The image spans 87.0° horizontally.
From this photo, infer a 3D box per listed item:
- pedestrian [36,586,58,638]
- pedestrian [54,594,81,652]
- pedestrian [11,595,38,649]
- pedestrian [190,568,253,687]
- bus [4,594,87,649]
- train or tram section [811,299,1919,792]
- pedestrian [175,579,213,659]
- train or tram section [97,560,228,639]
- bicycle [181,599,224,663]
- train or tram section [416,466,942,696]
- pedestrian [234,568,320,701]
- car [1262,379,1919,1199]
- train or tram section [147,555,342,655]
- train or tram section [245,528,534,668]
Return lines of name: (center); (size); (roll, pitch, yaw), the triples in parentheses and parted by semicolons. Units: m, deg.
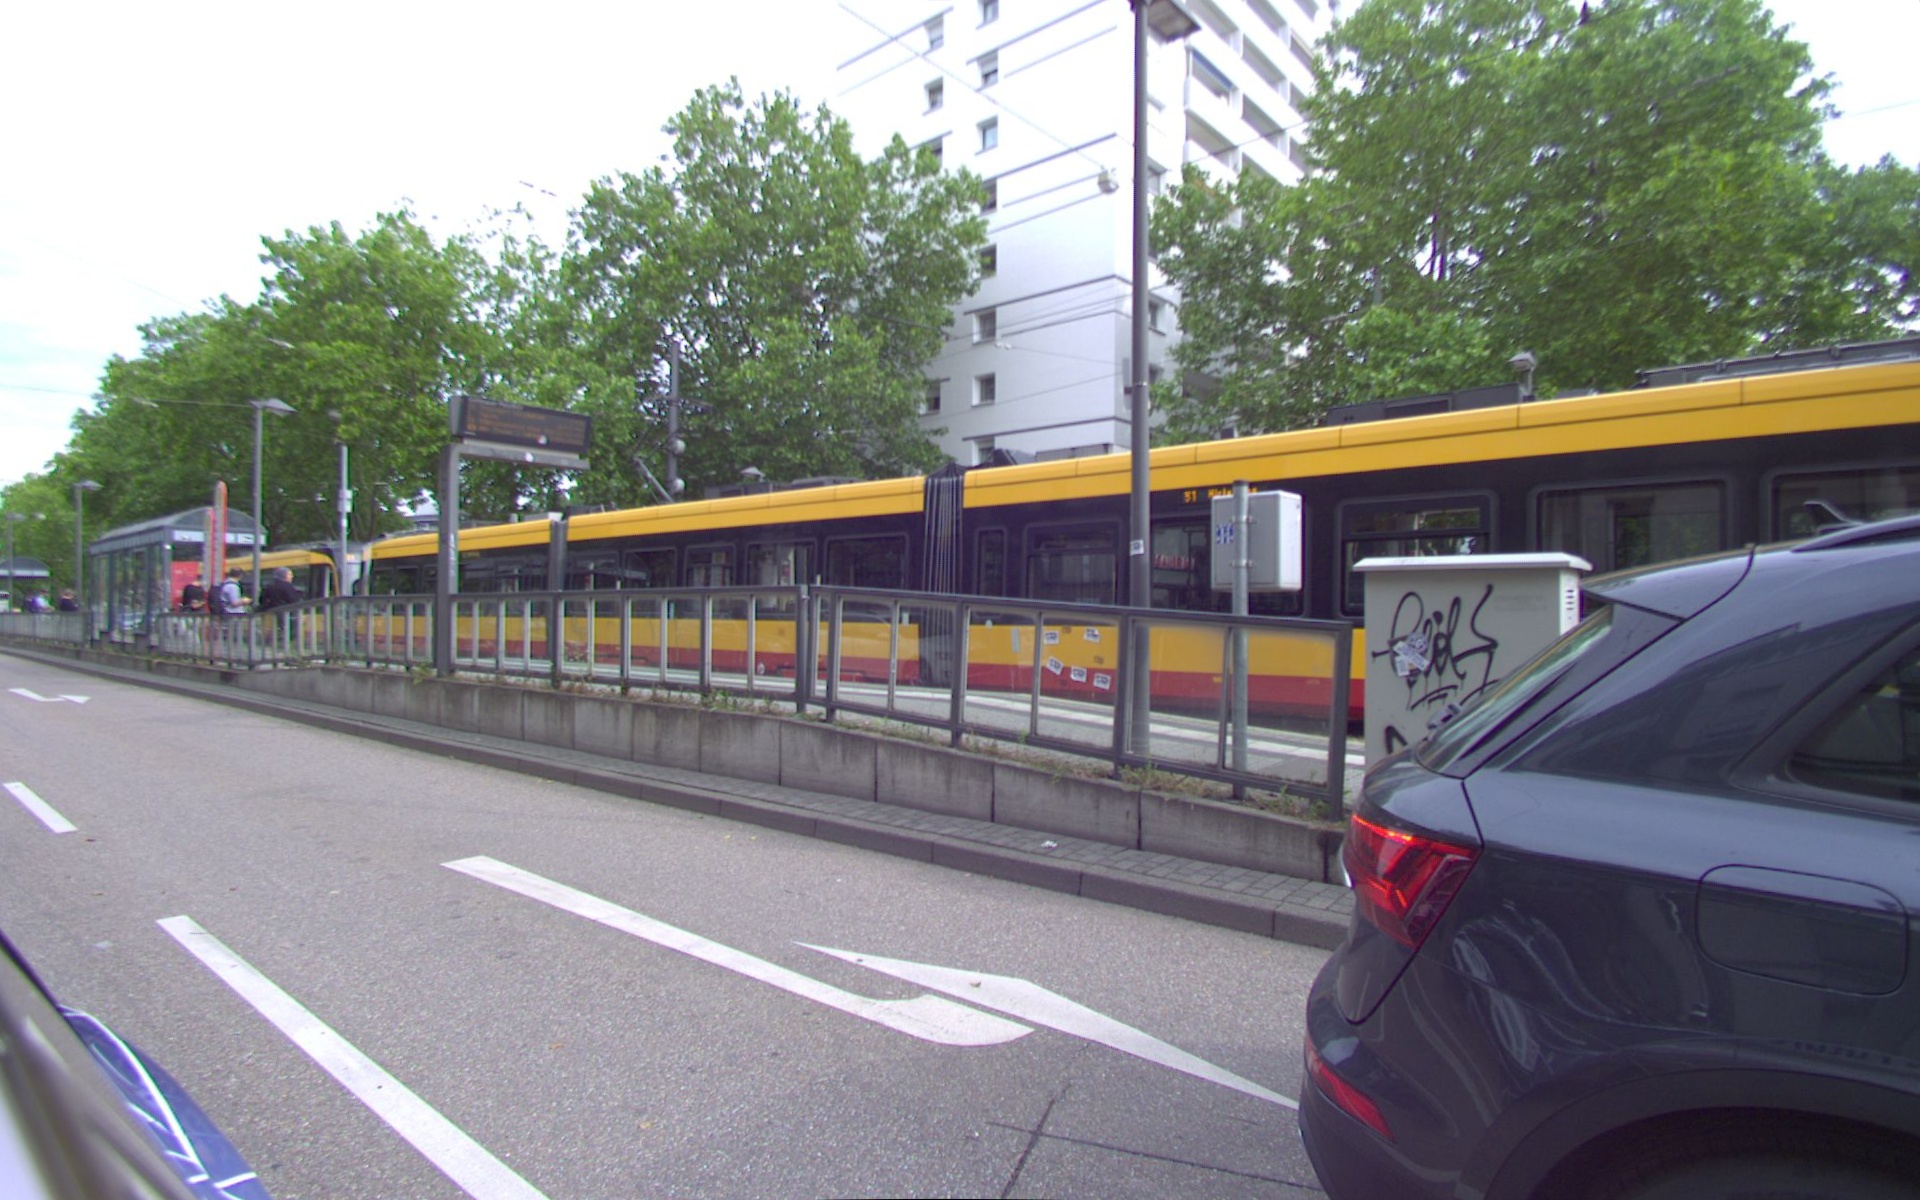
pedestrian: (-28.985, 0.381, 32.117); (0.392, 1.645, 0.474); (-1, 0, 42)
pedestrian: (-25.455, 0.646, 28.866); (0.730, 1.645, 0.506); (-1, 0, 42)
pedestrian: (-35.640, 0.834, 38.543); (0.587, 2.029, 0.668); (-1, 0, 38)
pedestrian: (-12.965, 0.469, 17.788); (0.742, 2.029, 0.821); (-1, 0, -26)
bus: (-35.955, 0.807, 39.762); (3.998, 2.029, 1.973); (0, 0, 41)
train or tram section: (4.657, -0.385, 11.523); (15.841, 3.615, 3.028); (0, 0, 41)
pedestrian: (-15.985, 0.388, 21.121); (0.471, 1.645, 0.526); (-1, 0, 39)
train or tram section: (-40.807, 0.005, 51.529); (12.534, 3.588, 3.060); (0, 0, 41)
bicycle: (-15.247, 0.610, 20.357); (1.289, 1.231, 0.414); (-1, 0, 41)
train or tram section: (-7.061, -0.264, 21.817); (15.287, 3.558, 3.028); (0, 0, 41)
pedestrian: (-10.688, 0.521, 15.861); (0.808, 2.029, 0.754); (-1, 0, 4)
car: (2.764, 0.538, 1.013); (4.354, 1.613, 1.861); (-1, 0, 40)
train or tram section: (-30.211, 0.216, 42.164); (15.764, 3.558, 3.028); (0, 0, 41)
train or tram section: (-18.550, -0.010, 31.928); (15.287, 3.558, 3.028); (0, 0, 41)
